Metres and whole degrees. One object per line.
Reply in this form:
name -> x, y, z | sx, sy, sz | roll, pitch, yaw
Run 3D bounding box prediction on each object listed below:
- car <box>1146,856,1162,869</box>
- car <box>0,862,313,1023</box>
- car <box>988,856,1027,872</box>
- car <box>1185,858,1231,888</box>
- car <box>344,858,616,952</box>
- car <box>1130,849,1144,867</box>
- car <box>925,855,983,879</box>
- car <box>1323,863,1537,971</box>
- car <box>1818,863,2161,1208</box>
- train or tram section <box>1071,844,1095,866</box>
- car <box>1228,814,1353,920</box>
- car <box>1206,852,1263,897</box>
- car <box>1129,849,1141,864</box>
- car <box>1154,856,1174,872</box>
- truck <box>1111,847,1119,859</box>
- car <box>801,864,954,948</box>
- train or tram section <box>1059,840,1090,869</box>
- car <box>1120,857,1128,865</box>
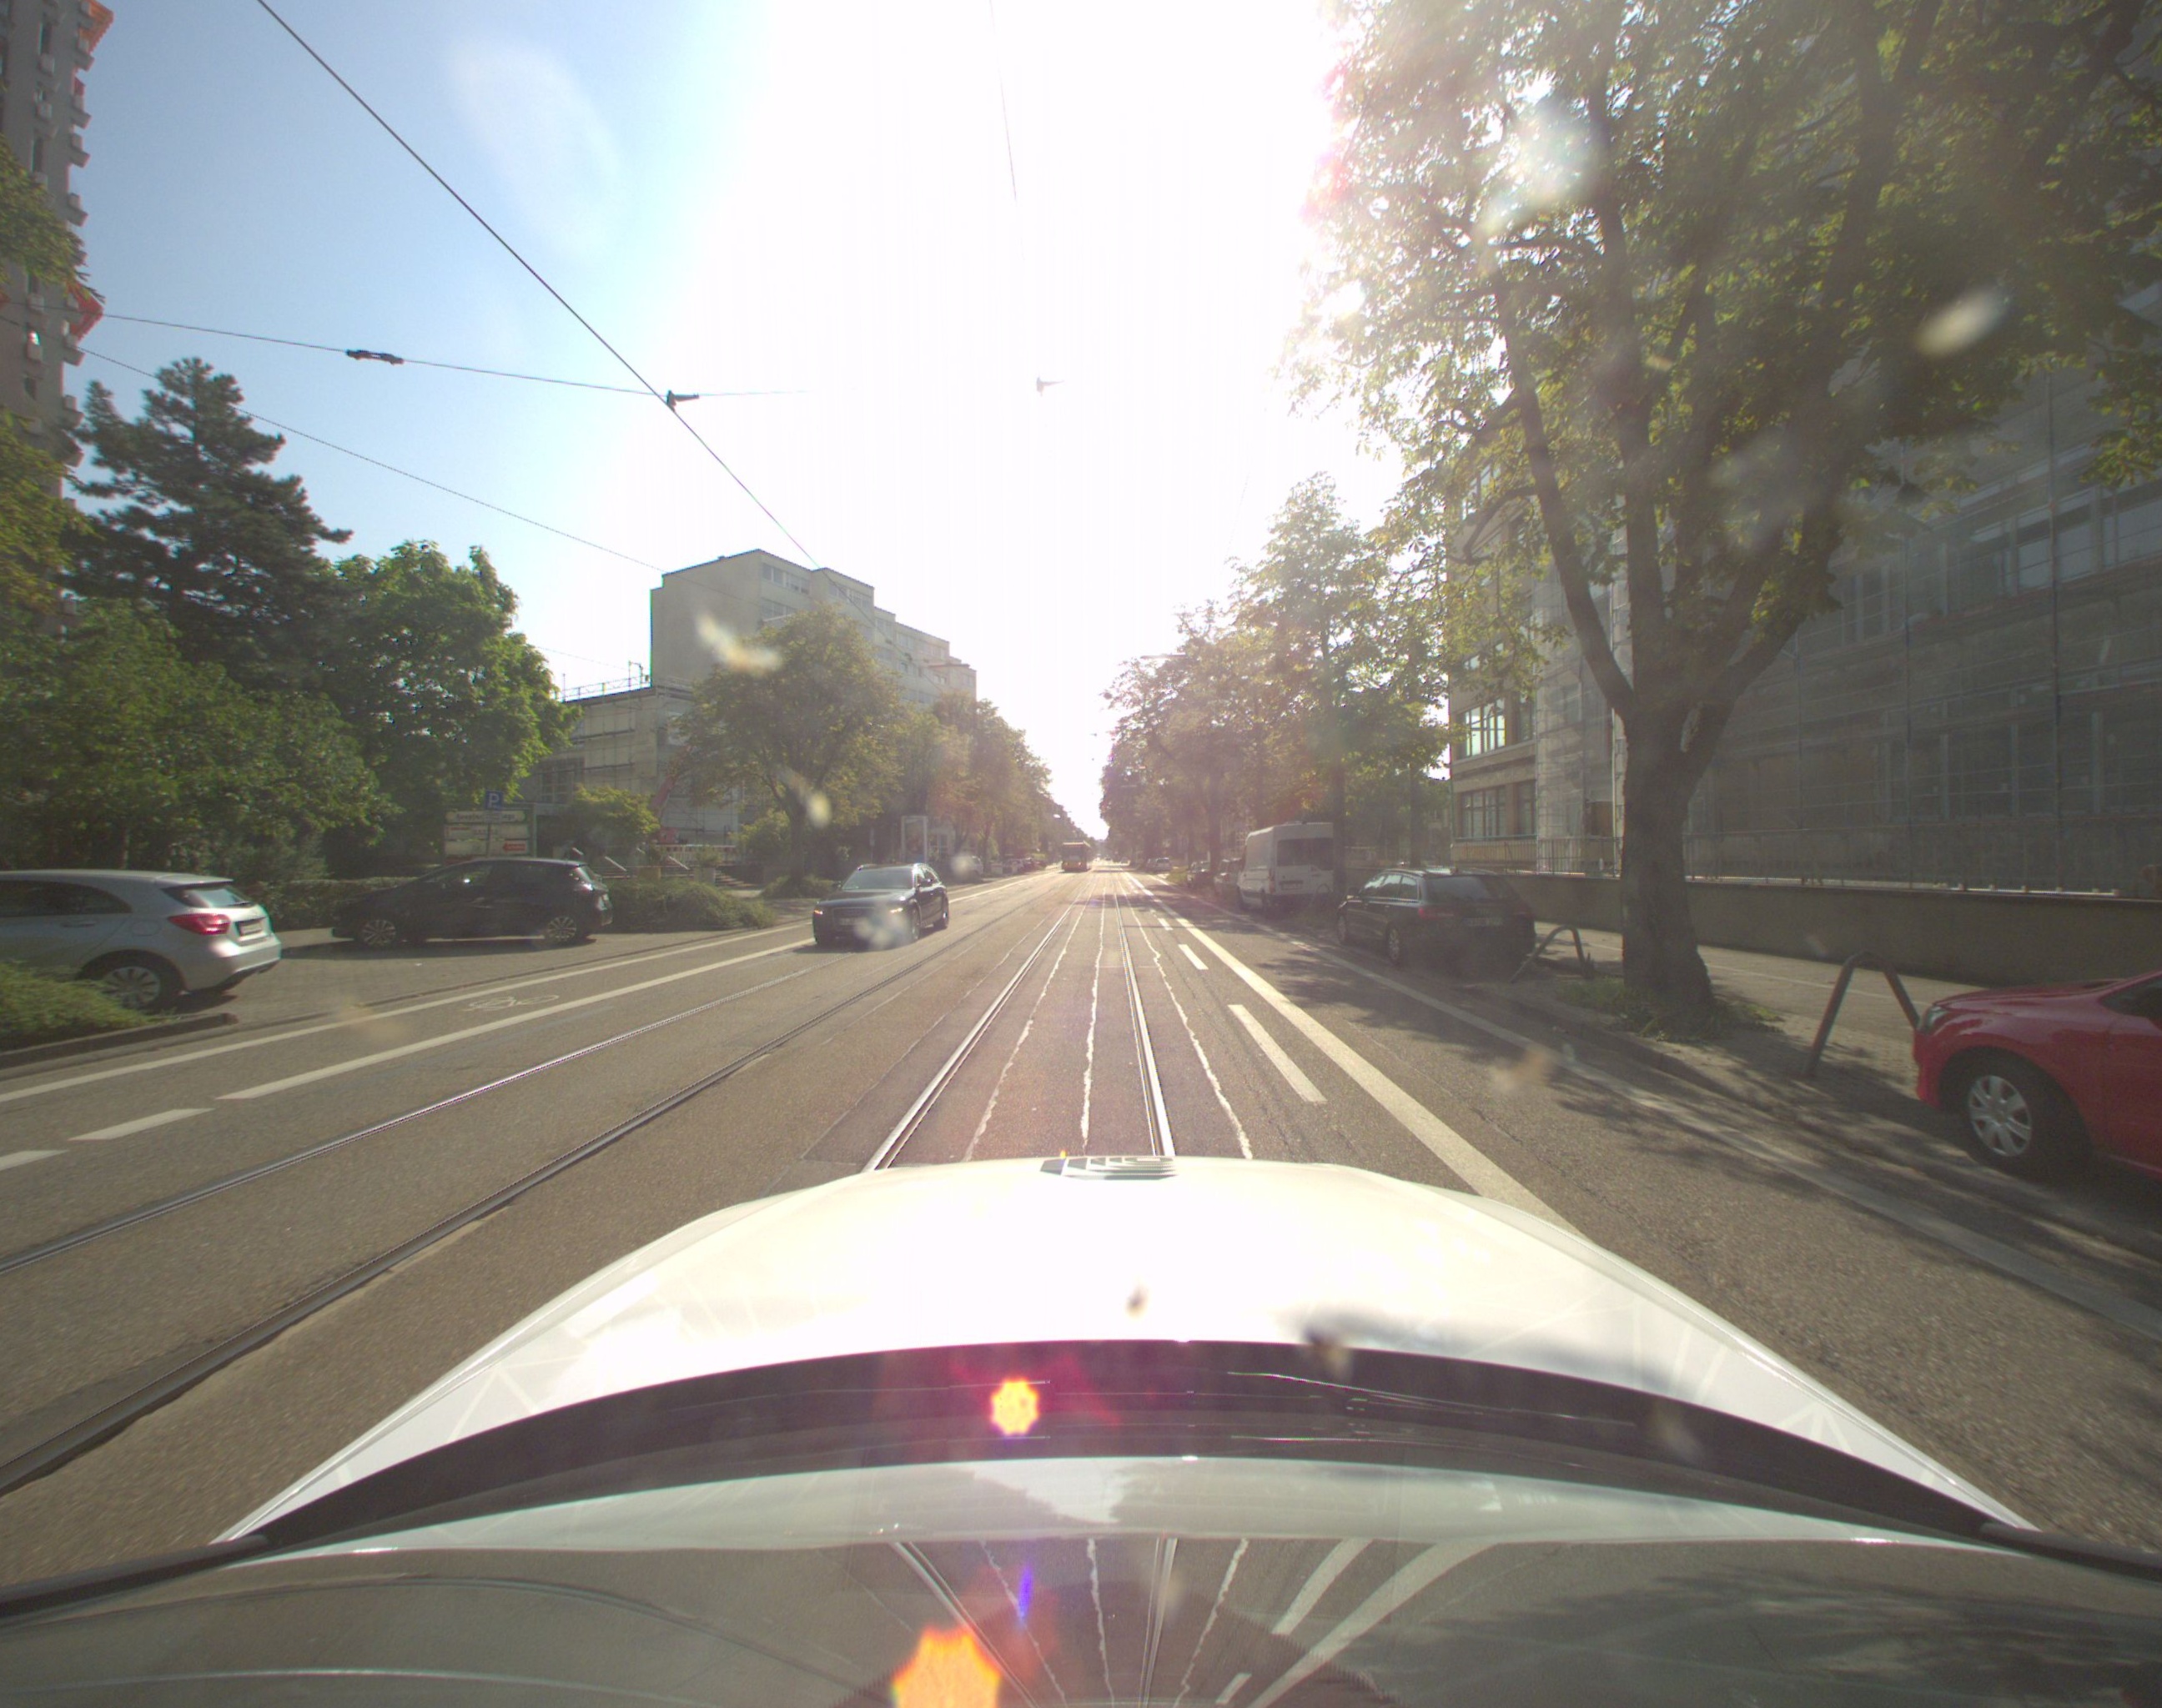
car -> 8.002, 0.913, 89.782 | 1.588, 1.418, 3.637 | -1, 0, 3
car -> -10.747, 0.835, 8.209 | 4.010, 1.479, 1.773 | 0, 0, -28
car -> -7.232, 0.958, 79.985 | 1.550, 1.443, 3.786 | -1, 0, 42
car -> 6.560, 0.946, 42.447 | 1.747, 1.377, 4.721 | -2, 0, 2
car -> -10.626, 0.859, 14.739 | 3.650, 1.515, 1.609 | 1, 0, -24
car -> 8.068, 0.561, 117.895 | 1.996, 2.490, 4.480 | 0, 0, 3
car -> -9.139, 0.914, 58.671 | 3.817, 1.621, 1.723 | 0, 0, -43
car -> 5.408, 0.868, 13.363 | 1.610, 1.374, 4.830 | -1, 0, 3
car -> 5.368, 0.777, 3.088 | 1.610, 1.413, 4.002 | -1, 0, 2
train or tram section -> 0.352, 0.176, 112.736 | 2.669, 2.862, 10.551 | -1, 0, 3
car -> 5.851, 0.335, 23.540 | 2.075, 2.552, 5.501 | -4, 0, 0
car -> 6.098, 0.761, 32.708 | 1.658, 1.616, 3.879 | -2, 0, 2
car -> 9.528, 0.440, 144.691 | 1.996, 2.475, 4.480 | -1, 0, 3
car -> 7.753, 0.892, 76.073 | 1.683, 1.418, 3.637 | -1, 0, 3
truck -> 8.515, -0.256, 206.727 | 1.855, 3.131, 4.351 | -1, 0, 0
car -> -3.838, 0.914, 16.230 | 1.822, 1.376, 4.513 | -1, 0, 1
train or tram section -> -0.520, 0.067, 89.538 | 2.718, 2.894, 15.461 | -1, 0, 2
car -> 10.553, 1.694, 200.248 | 1.985, 1.838, 4.003 | -1, 0, 3
